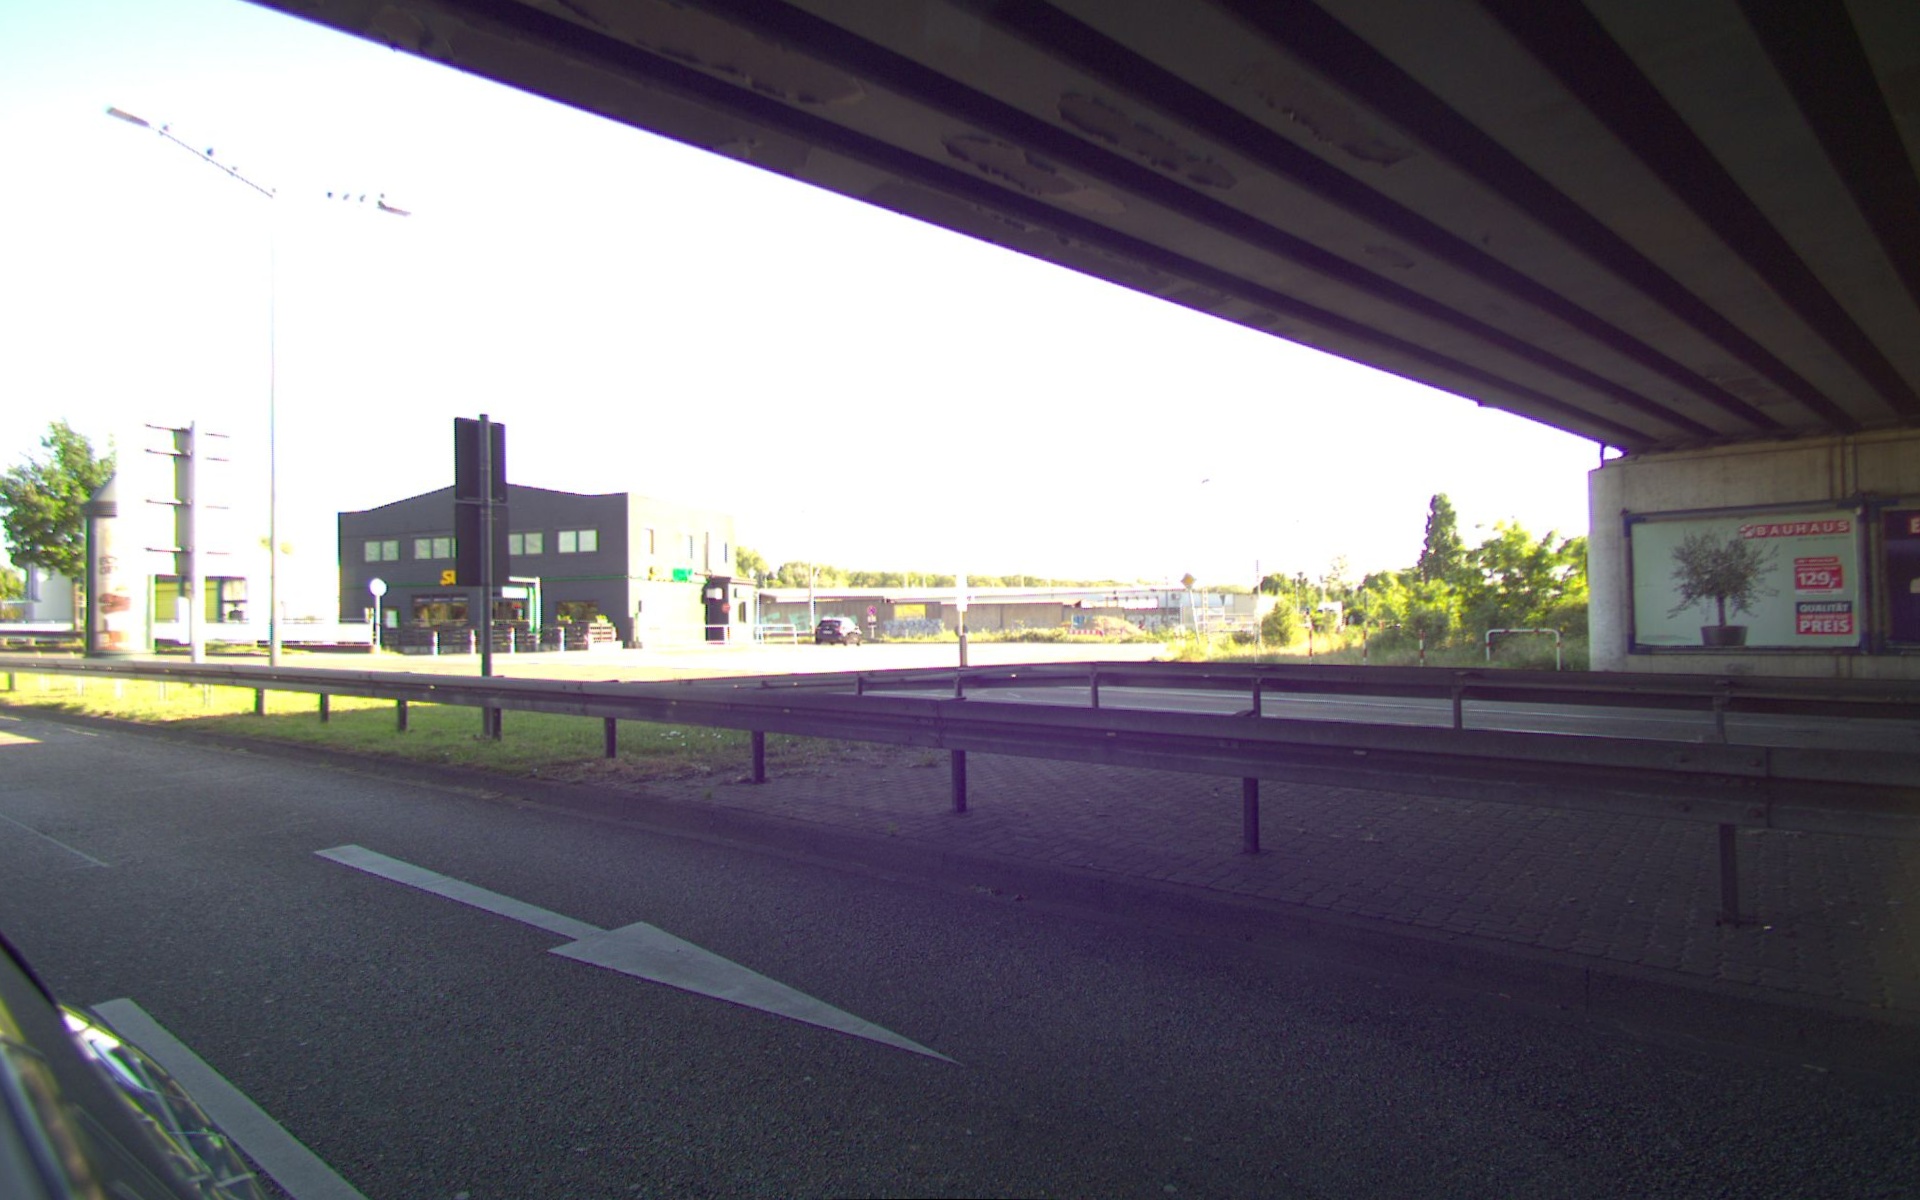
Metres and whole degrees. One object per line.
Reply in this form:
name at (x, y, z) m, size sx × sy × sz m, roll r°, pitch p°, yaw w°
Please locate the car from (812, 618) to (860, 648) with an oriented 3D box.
car at (-6.692, 1.783, 54.981) m, size 1.858 × 1.453 × 3.996 m, roll -1°, pitch 0°, yaw 3°
